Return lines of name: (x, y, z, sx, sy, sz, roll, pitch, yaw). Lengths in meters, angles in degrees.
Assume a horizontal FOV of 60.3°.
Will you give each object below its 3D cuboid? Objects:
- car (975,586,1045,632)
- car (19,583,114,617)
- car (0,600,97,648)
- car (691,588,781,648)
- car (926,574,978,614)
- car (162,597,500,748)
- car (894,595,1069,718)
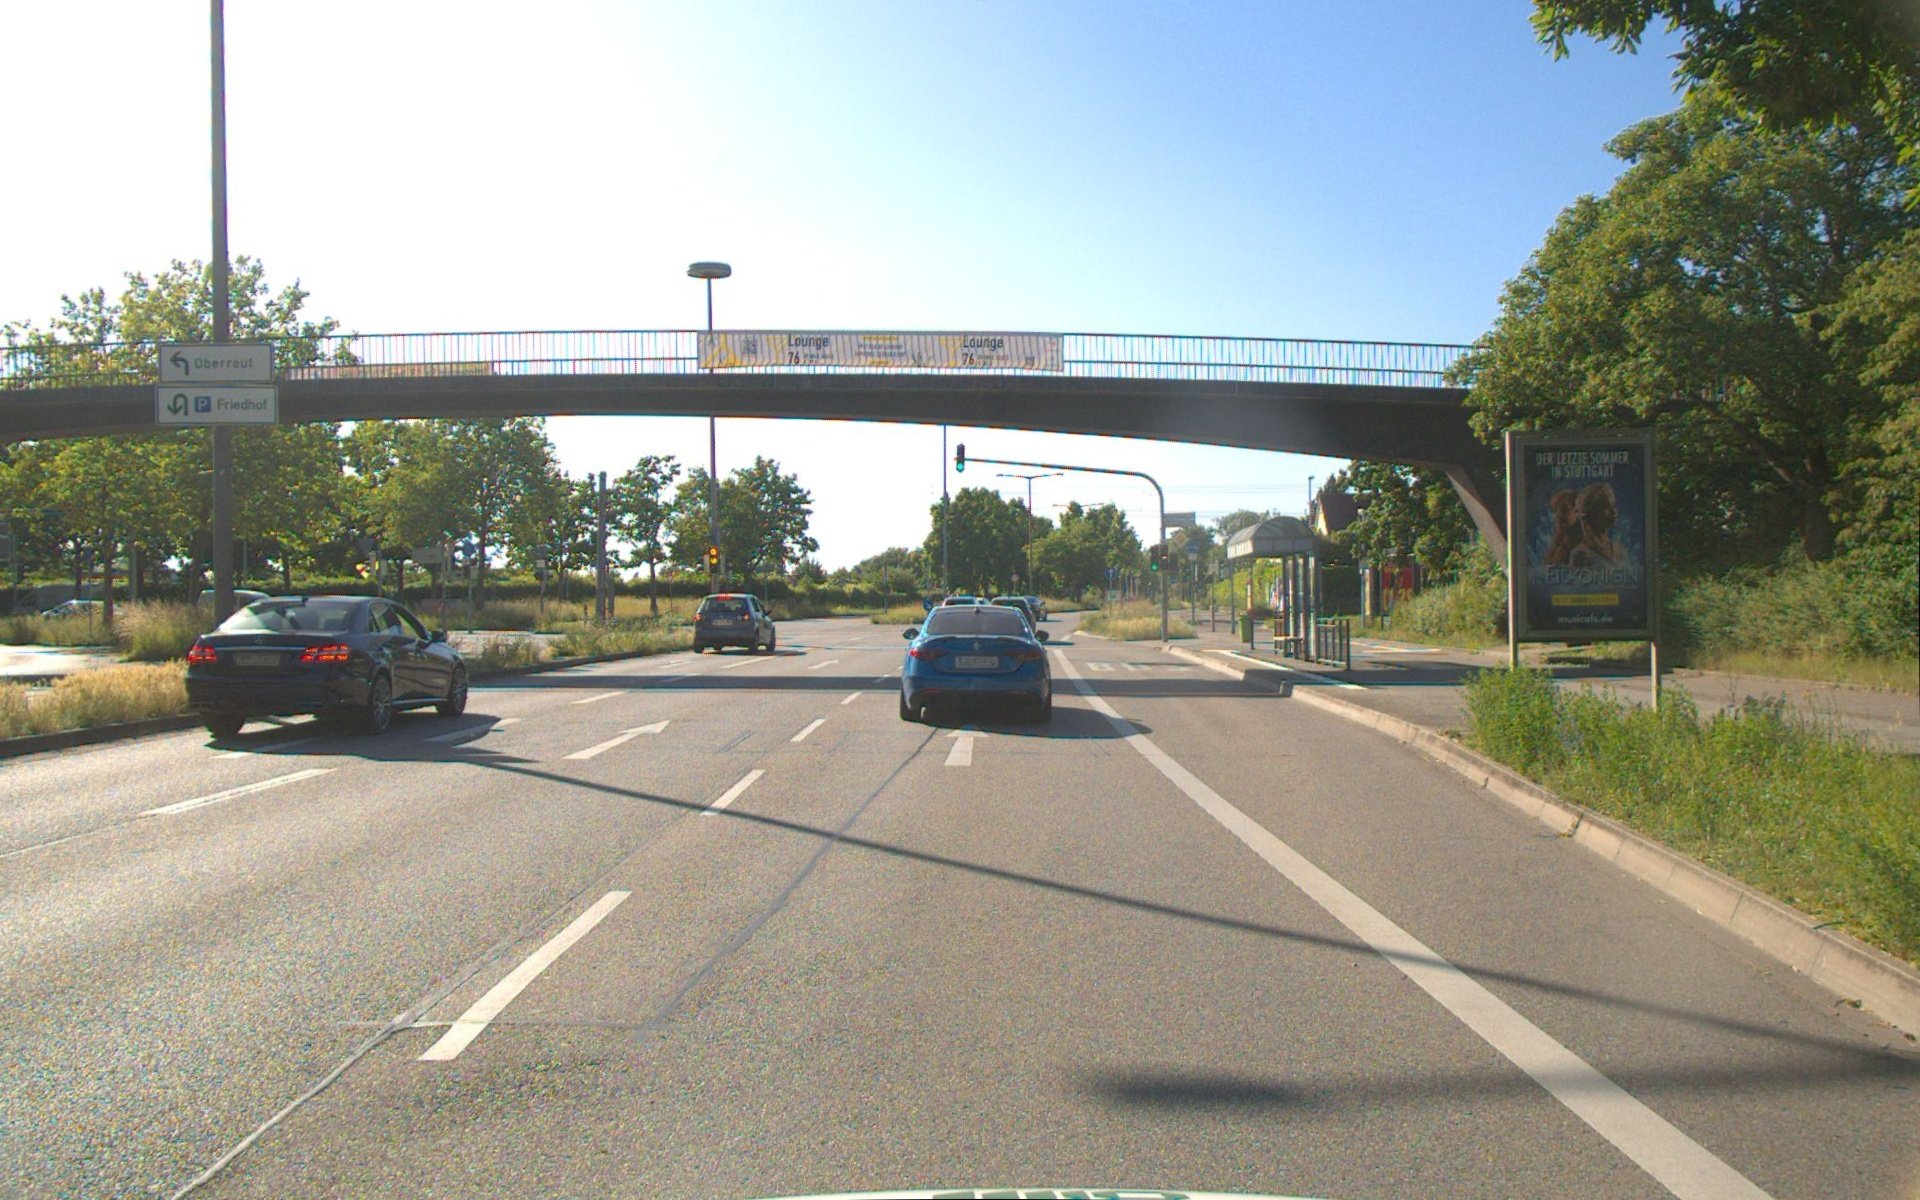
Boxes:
car: (1.628, 0.298, 55.735, 1.846, 1.479, 4.521, 0, 0, -5)
car: (-55.004, 0.003, 101.869, 4.689, 2.049, 1.999, 0, -1, -2)
car: (-33.400, 0.833, 59.202, 4.215, 1.679, 2.001, 0, -1, 15)
car: (-6.149, 0.484, 45.700, 1.759, 1.583, 3.731, 0, 0, 3)
car: (-0.355, -0.243, 69.946, 1.676, 1.626, 4.216, 0, 0, -8)
car: (-7.025, 0.736, 19.132, 1.918, 1.509, 4.919, 0, 0, 1)
car: (0.173, 0.671, 21.419, 1.846, 1.431, 4.219, 0, 0, -5)
